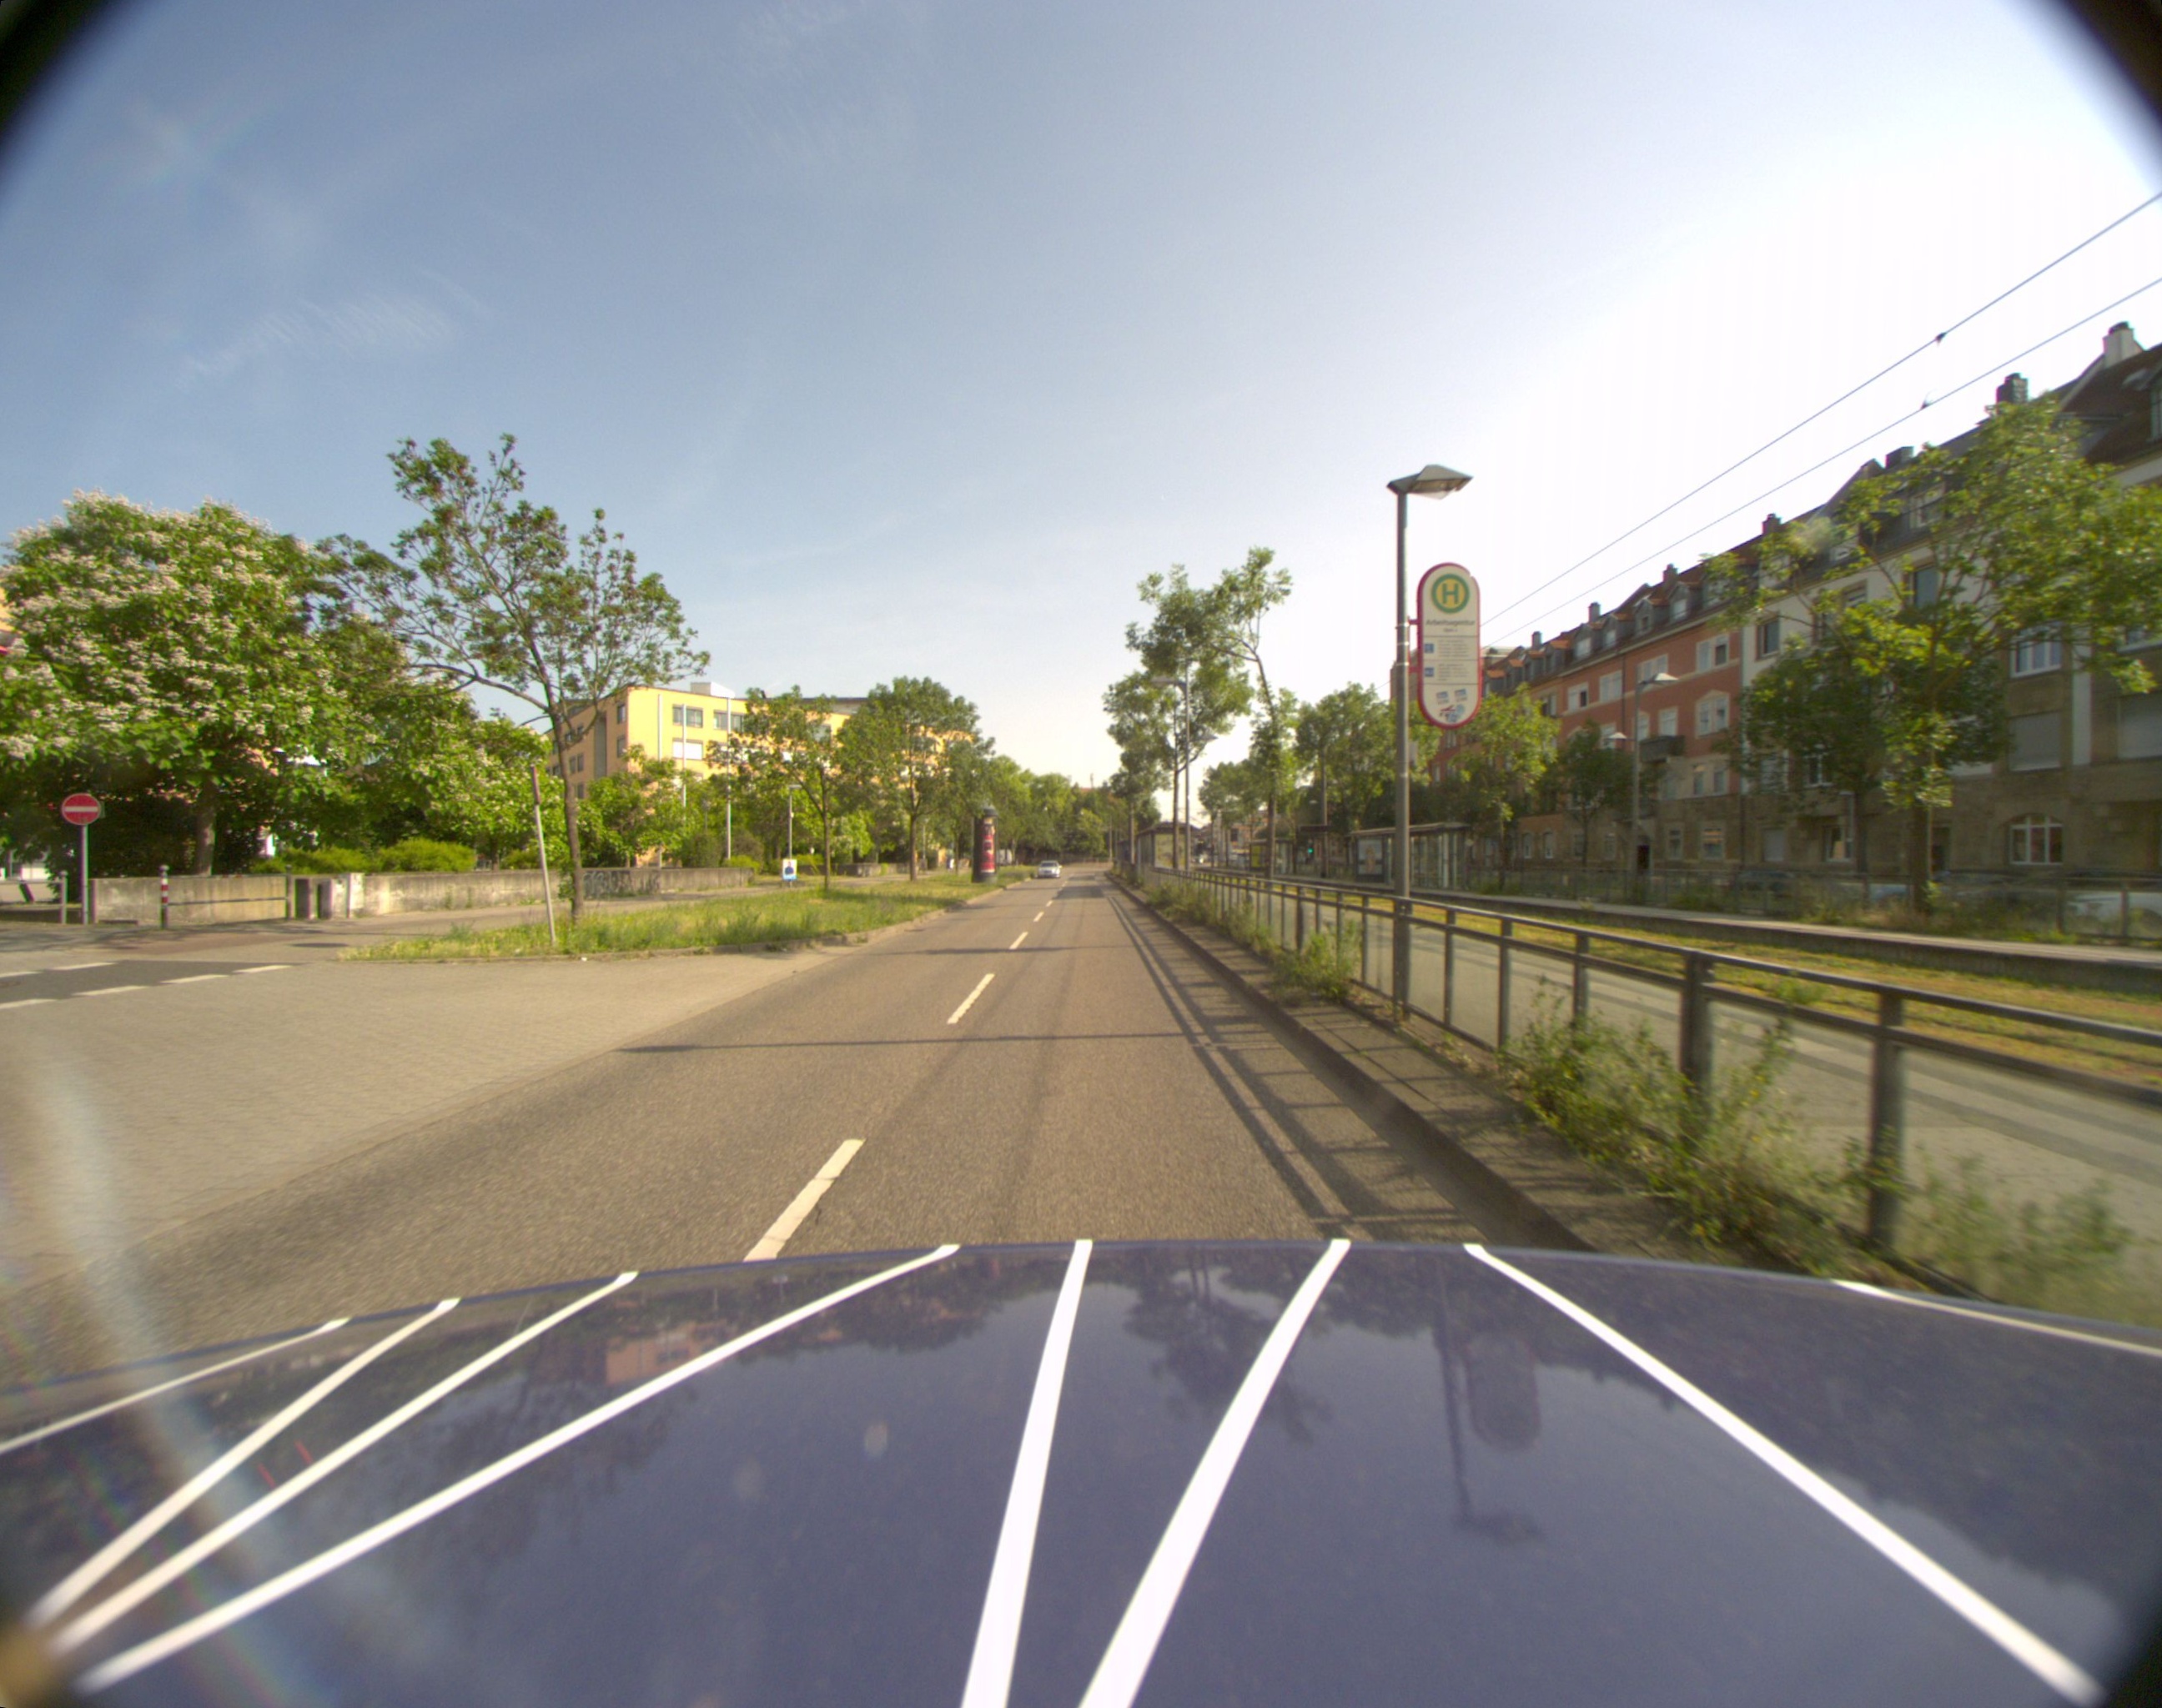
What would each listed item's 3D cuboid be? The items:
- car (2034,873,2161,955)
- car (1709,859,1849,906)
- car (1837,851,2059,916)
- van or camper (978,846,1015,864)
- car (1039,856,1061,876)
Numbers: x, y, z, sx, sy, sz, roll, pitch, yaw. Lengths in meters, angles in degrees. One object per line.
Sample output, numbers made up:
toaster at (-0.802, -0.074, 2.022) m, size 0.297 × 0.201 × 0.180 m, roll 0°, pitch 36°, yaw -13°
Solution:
car at (25.277, 1.354, 17.331) m, size 3.989 × 1.716 × 2.004 m, roll -2°, pitch 1°, yaw 35°
car at (27.503, 1.065, 30.146) m, size 1.907 × 1.610 × 4.000 m, roll -2°, pitch 1°, yaw 1°
car at (25.580, 0.864, 22.667) m, size 3.989 × 1.716 × 2.004 m, roll -2°, pitch 1°, yaw 35°
van or camper at (-13.963, 0.111, 125.635) m, size 5.801 × 2.678 × 2.407 m, roll -2°, pitch 1°, yaw -3°
car at (-2.426, 0.962, 60.793) m, size 1.629 × 1.476 × 3.366 m, roll -2°, pitch 1°, yaw -1°
